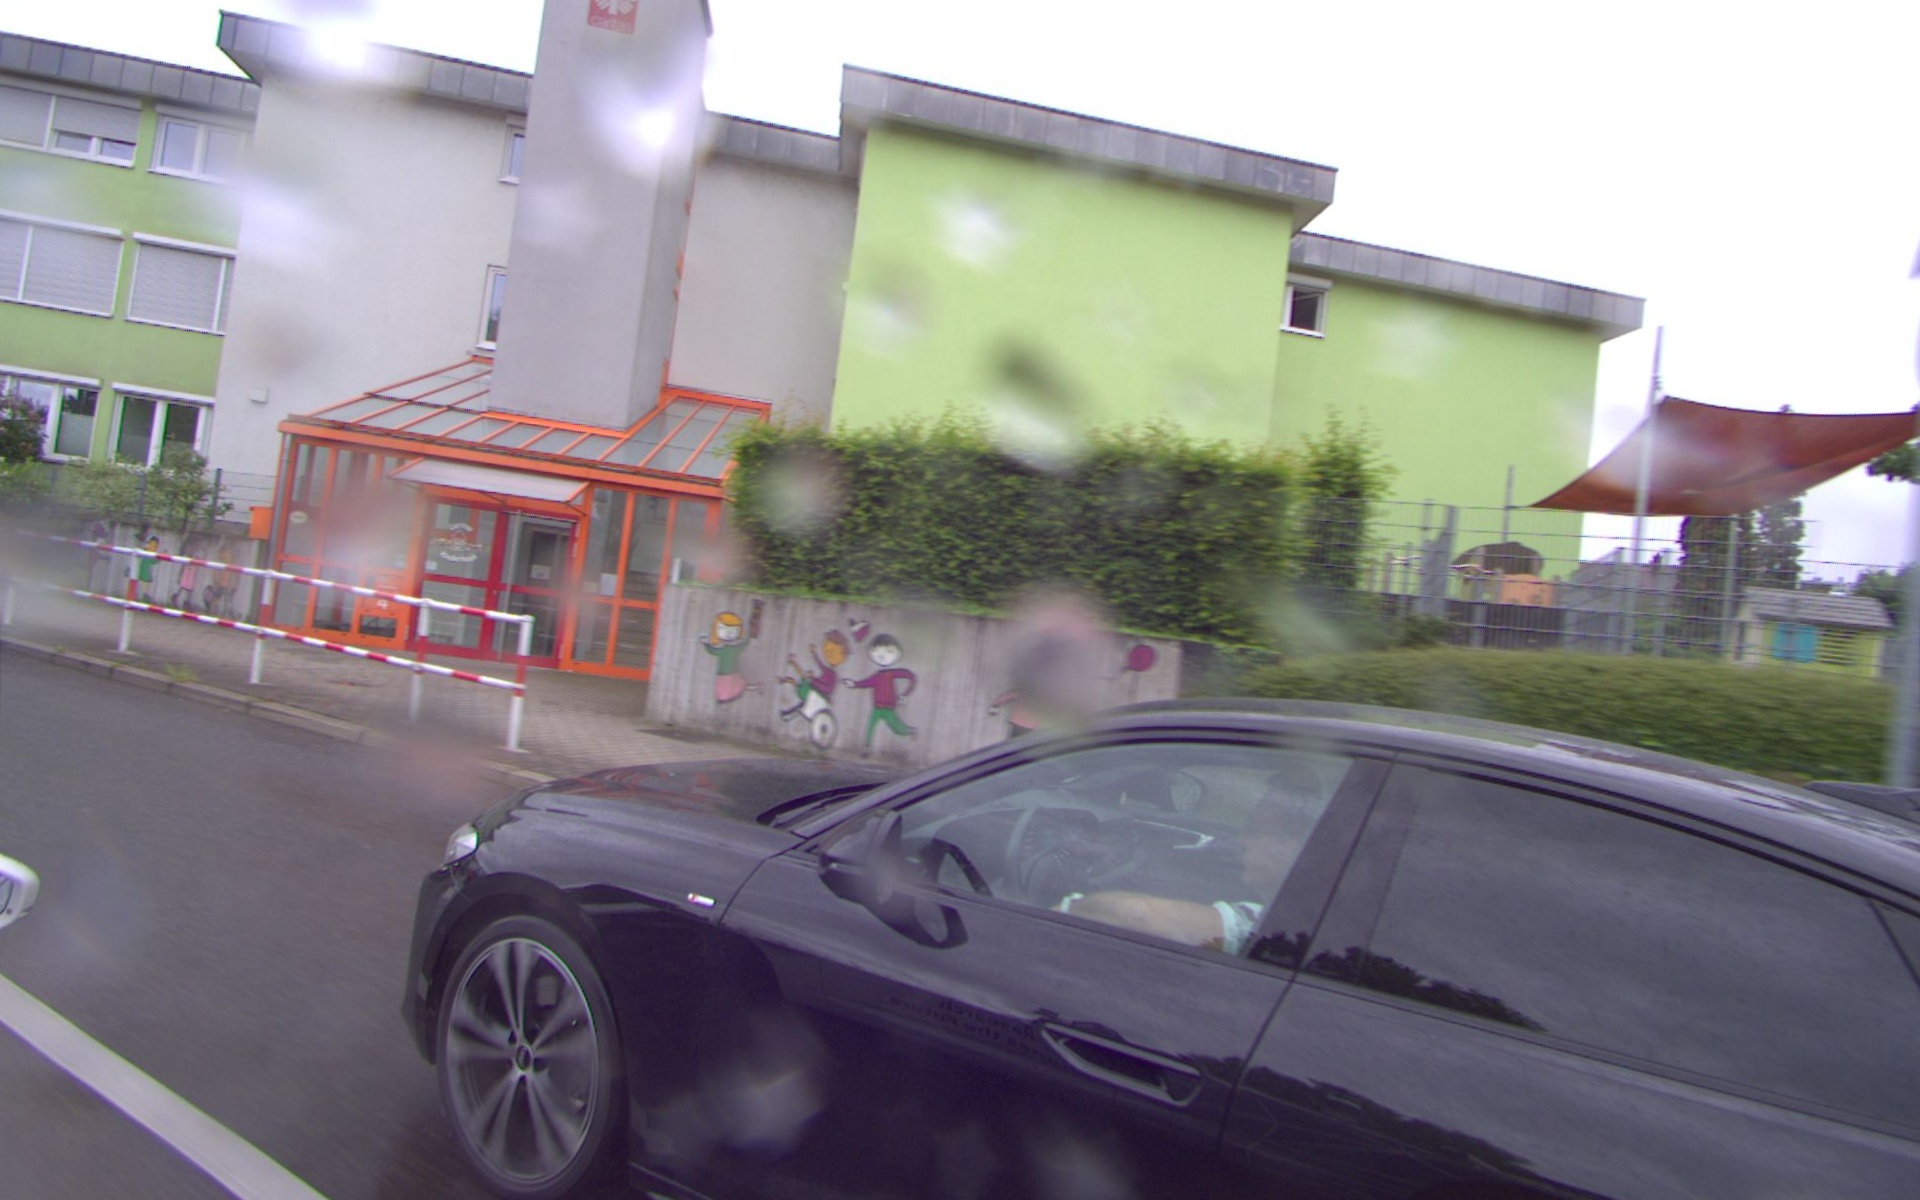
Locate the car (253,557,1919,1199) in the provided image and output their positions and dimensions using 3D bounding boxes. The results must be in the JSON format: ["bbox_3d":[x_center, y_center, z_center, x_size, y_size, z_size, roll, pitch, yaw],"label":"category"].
[{"bbox_3d":[0.478,0.853,2.540,4.660,1.441,1.870,5,-2,31],"label":"car"}]
